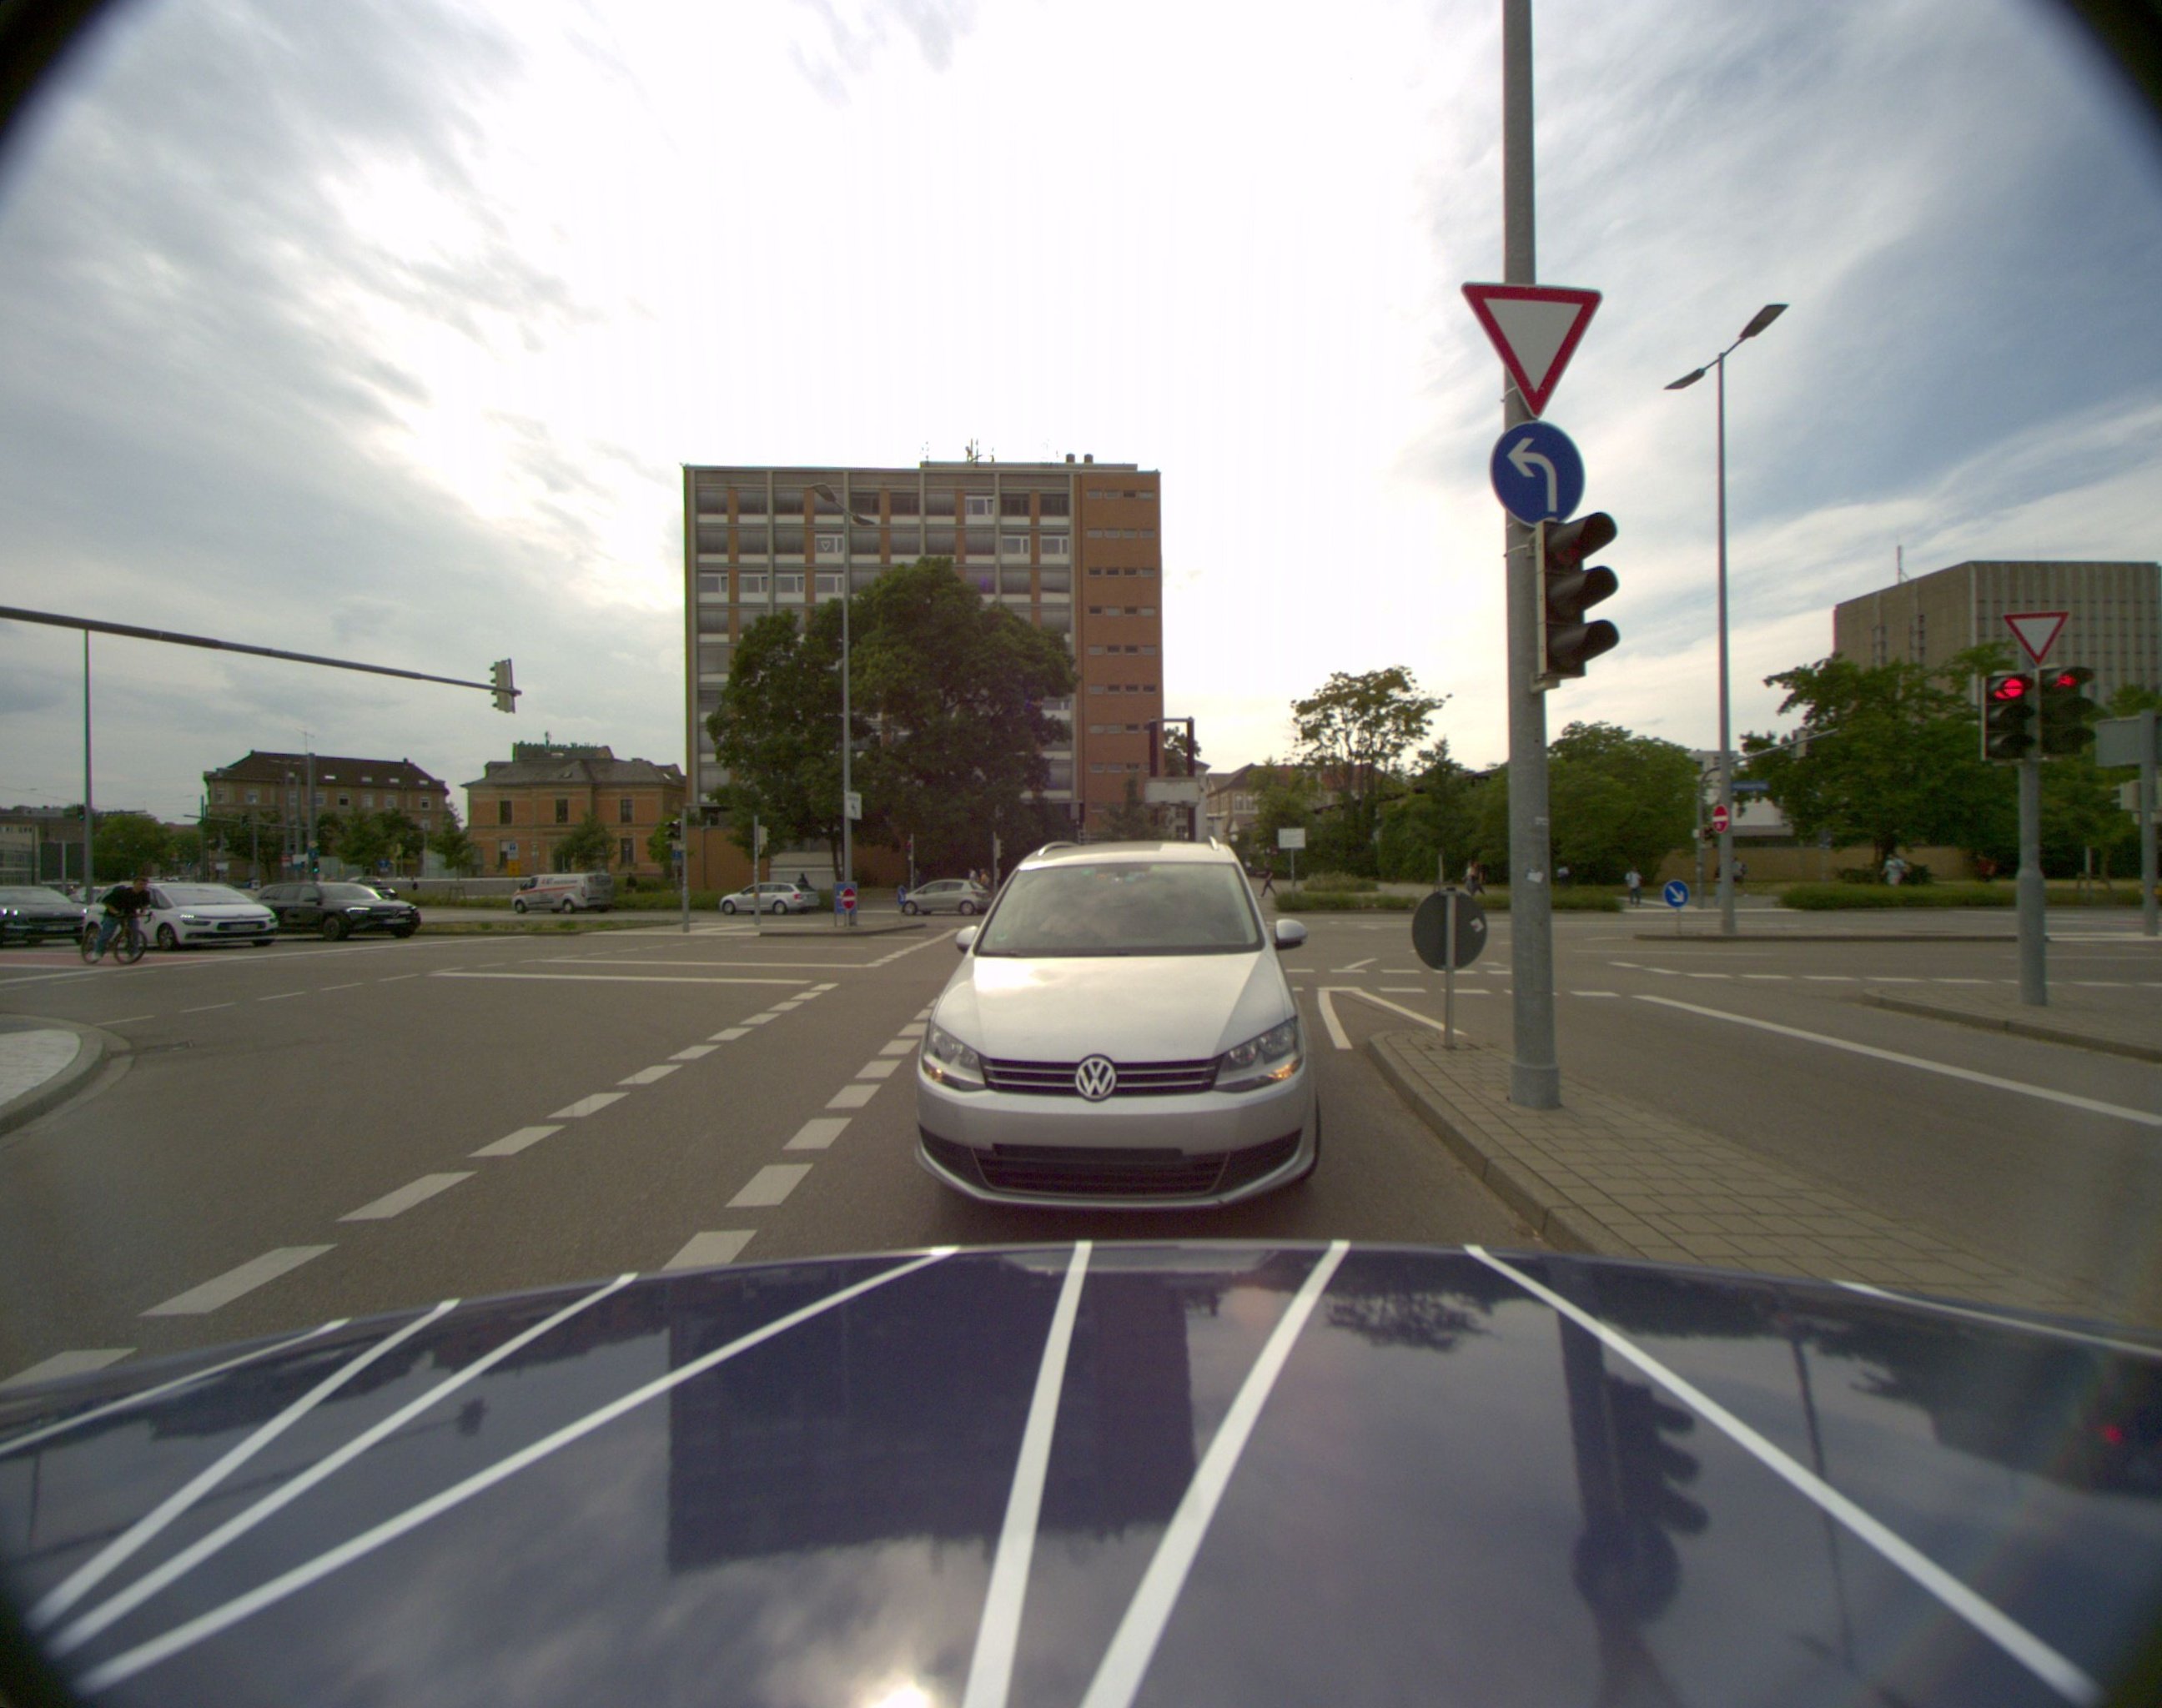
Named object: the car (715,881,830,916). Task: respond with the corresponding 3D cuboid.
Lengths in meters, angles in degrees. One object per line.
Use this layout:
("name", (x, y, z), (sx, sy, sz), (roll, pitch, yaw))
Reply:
("car", (-13.711, 1.970, 33.845), (4.520, 1.465, 1.828), (-2, -2, 15))

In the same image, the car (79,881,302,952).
("car", (-22.107, 1.525, 18.912), (4.282, 1.640, 2.003), (-2, -2, 16))

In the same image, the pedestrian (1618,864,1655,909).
("pedestrian", (21.560, 1.268, 29.515), (0.838, 1.700, 0.800), (-1, -2, 7))

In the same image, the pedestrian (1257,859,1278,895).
("pedestrian", (8.907, 1.114, 36.281), (0.799, 1.700, 0.840), (-1, -2, 5))

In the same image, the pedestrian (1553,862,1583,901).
("pedestrian", (21.664, 1.234, 33.830), (0.799, 1.700, 0.715), (-1, -2, -1))

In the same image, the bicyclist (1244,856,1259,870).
("bicyclist", (15.629, 0.838, 69.772), (1.014, 1.269, 0.839), (0, -2, -18))

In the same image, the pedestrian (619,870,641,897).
("pedestrian", (-27.133, 1.771, 45.748), (0.810, 1.565, 0.781), (-1, 1, 24))

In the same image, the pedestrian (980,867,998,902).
("pedestrian", (-4.539, 1.495, 37.364), (0.707, 1.701, 0.640), (-1, 1, 5))

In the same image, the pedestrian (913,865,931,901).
("pedestrian", (-8.331, 1.523, 39.869), (0.707, 1.841, 0.640), (-1, 0, 5))

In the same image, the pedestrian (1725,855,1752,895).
("pedestrian", (28.527, 0.917, 32.992), (0.694, 1.686, 0.544), (-1, 2, -1))

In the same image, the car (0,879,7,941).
("car", (-35.210, 1.736, 22.865), (4.282, 1.886, 2.003), (-2, -2, 16))

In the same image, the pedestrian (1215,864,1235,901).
("pedestrian", (6.734, 1.357, 35.626), (0.799, 1.700, 0.840), (-1, -2, 5))

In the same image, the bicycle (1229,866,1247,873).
("bicycle", (16.512, 1.594, 80.072), (1.842, 0.689, 0.653), (-1, -2, 10))

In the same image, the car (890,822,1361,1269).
("car", (0.295, 0.847, 5.259), (1.823, 1.723, 4.531), (-1, -2, 4))

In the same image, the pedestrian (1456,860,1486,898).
("pedestrian", (17.713, 1.156, 34.493), (0.800, 1.700, 0.839), (-1, -2, -13))

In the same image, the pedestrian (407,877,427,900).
("pedestrian", (-45.549, 2.351, 52.136), (0.810, 1.565, 0.782), (-1, 1, 28))

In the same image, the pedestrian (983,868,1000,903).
("pedestrian", (-4.488, 1.585, 38.076), (0.707, 1.700, 0.640), (-1, -2, 5))

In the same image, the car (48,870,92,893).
("car", (-91.007, 2.501, 68.390), (3.989, 1.911, 2.005), (-2, -3, 32))

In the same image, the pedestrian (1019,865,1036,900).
("pedestrian", (-2.697, 1.433, 38.554), (0.707, 1.701, 0.640), (-1, 2, 5))

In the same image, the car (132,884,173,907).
("car", (-84.296, 3.745, 68.993), (3.989, 2.001, 2.005), (-3, -3, 34))

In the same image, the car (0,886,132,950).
("car", (-28.930, 1.732, 20.913), (4.282, 1.640, 2.003), (-2, -2, 16))

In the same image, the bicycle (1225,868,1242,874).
("bicycle", (16.682, 1.873, 83.218), (1.842, 0.689, 0.653), (-1, -2, 10))

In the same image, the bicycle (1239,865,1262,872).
("bicycle", (15.553, 1.330, 69.746), (1.847, 0.689, 0.842), (0, -2, -20))

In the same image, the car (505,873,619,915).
("car", (-25.826, 1.998, 37.833), (5.194, 1.947, 1.828), (-2, -2, 17))

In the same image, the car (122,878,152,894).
("car", (-98.962, 3.402, 79.631), (3.536, 1.605, 1.845), (-3, -3, 37))

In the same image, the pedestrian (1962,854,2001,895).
("pedestrian", (38.100, 0.870, 32.148), (0.694, 1.700, 0.715), (-1, -2, 2))

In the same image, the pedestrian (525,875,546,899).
("pedestrian", (-35.638, 2.156, 49.678), (0.810, 1.565, 0.782), (-1, 1, 28))

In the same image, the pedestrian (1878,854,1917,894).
("pedestrian", (34.803, 0.863, 32.406), (0.694, 1.700, 0.842), (-1, -2, -1))

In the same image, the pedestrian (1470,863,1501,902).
("pedestrian", (17.904, 1.253, 33.652), (0.800, 1.700, 0.839), (-1, -2, -13))

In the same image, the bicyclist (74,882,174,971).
("bicyclist", (-18.441, 1.380, 14.656), (0.879, 1.658, 0.871), (-1, -2, 11))

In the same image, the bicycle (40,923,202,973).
("bicycle", (-18.481, 1.804, 14.643), (2.515, 0.871, 0.866), (-1, -2, 11))

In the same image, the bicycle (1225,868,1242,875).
("bicycle", (17.067, 1.944, 85.033), (1.842, 0.689, 0.653), (-1, -2, 10))

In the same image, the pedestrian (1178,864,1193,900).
("pedestrian", (5.013, 1.358, 36.537), (0.633, 1.700, 0.674), (-1, -2, 5))

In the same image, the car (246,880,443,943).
("car", (-20.795, 1.612, 21.497), (4.503, 1.640, 2.003), (-2, -2, 16))

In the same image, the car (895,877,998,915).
("car", (-5.597, 1.762, 31.694), (3.868, 1.480, 1.674), (-2, -2, 14))

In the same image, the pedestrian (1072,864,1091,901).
("pedestrian", (0.026, 1.356, 35.824), (0.799, 1.700, 0.840), (-1, -2, 5))

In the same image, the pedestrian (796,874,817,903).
("pedestrian", (-15.280, 1.895, 42.308), (0.811, 1.565, 0.780), (-1, 1, 5))

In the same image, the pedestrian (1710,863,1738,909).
("pedestrian", (24.137, 1.207, 28.534), (0.587, 1.700, 0.481), (-1, -2, 7))

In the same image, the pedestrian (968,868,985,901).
("pedestrian", (-5.371, 1.562, 39.180), (0.707, 1.701, 0.640), (-1, 0, 5))
